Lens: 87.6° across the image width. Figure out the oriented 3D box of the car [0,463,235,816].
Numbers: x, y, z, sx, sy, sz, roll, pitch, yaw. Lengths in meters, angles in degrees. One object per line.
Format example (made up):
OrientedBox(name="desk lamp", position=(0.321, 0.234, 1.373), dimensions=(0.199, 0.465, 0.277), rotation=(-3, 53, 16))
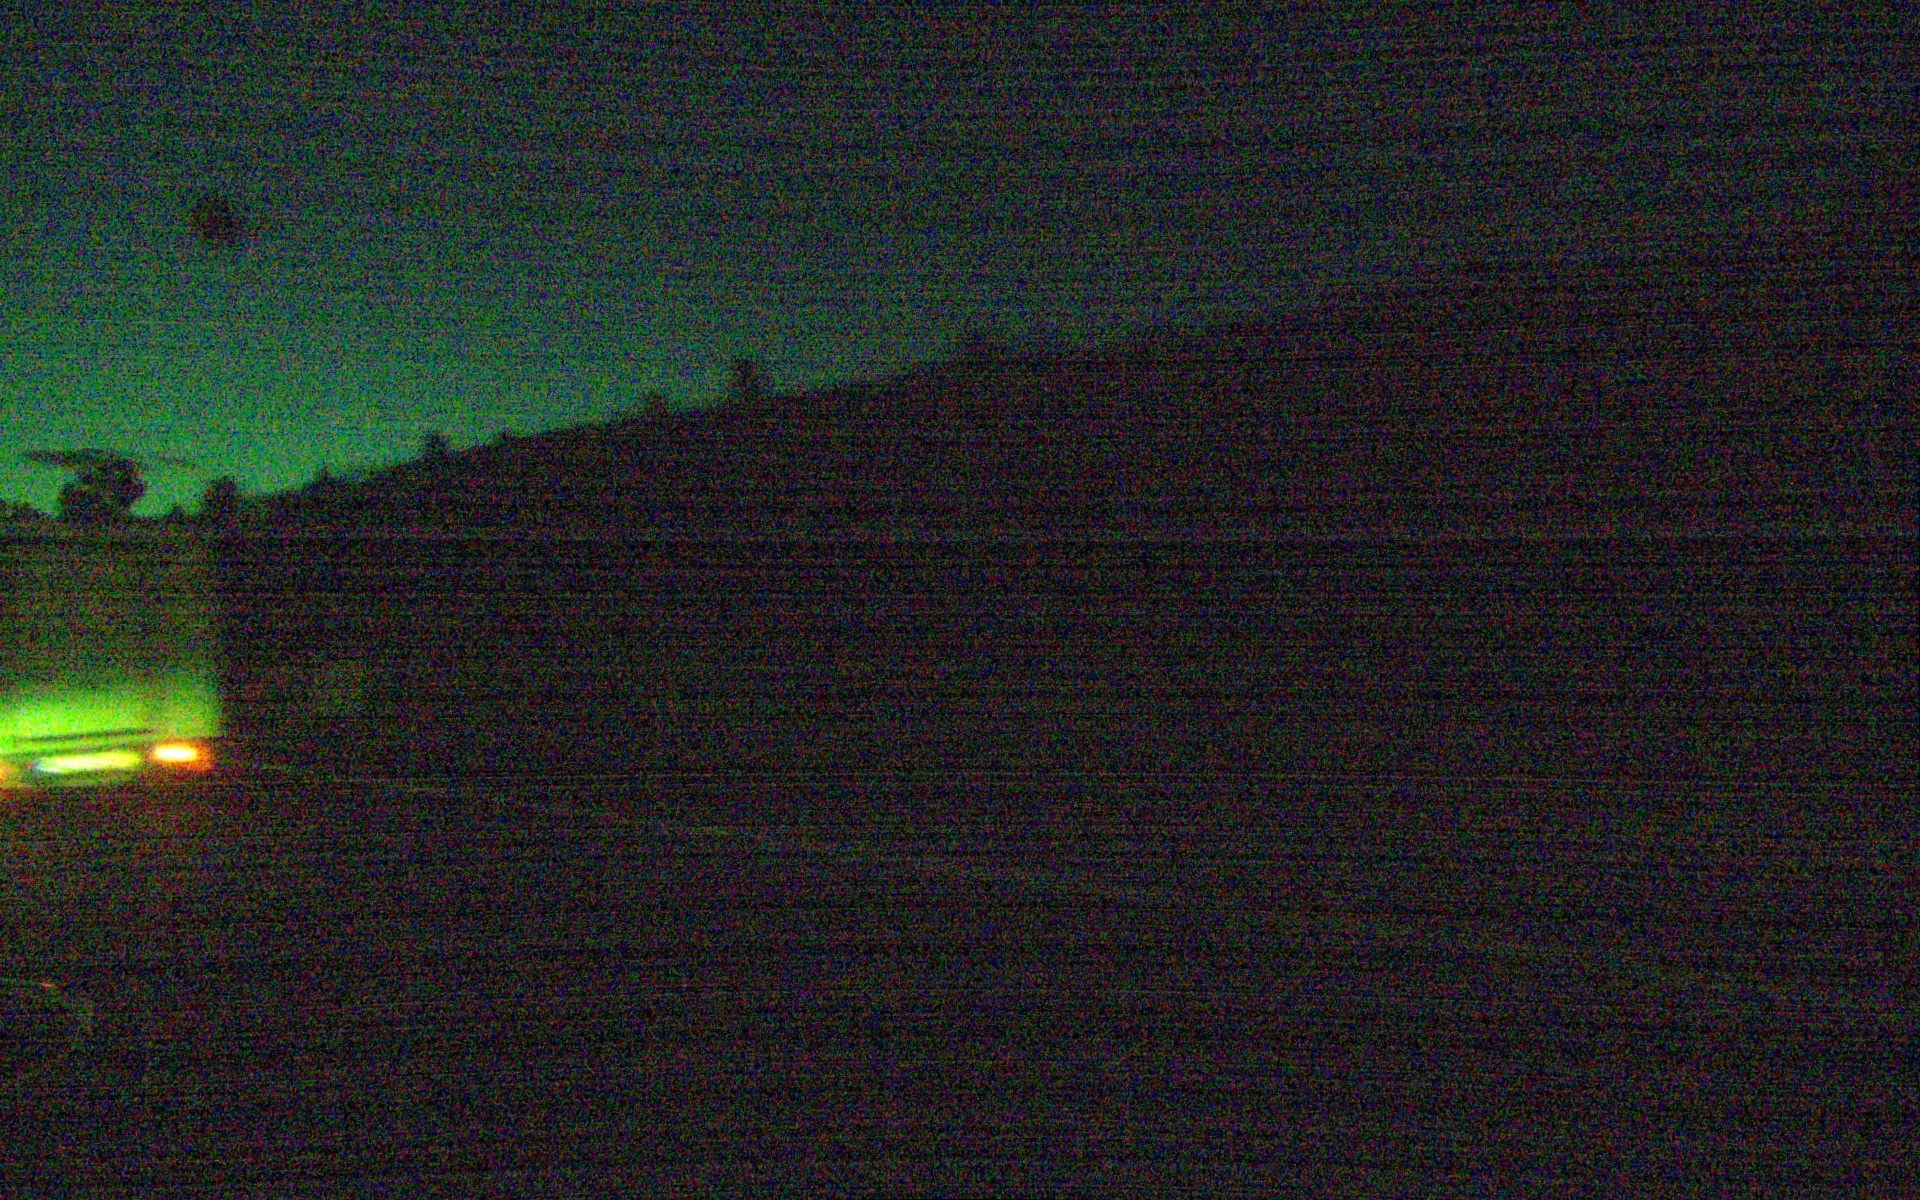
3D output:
OrientedBox(name="car", position=(-9.362, 0.364, 9.627), dimensions=(5.645, 2.681, 2.028), rotation=(-1, -1, 33))
